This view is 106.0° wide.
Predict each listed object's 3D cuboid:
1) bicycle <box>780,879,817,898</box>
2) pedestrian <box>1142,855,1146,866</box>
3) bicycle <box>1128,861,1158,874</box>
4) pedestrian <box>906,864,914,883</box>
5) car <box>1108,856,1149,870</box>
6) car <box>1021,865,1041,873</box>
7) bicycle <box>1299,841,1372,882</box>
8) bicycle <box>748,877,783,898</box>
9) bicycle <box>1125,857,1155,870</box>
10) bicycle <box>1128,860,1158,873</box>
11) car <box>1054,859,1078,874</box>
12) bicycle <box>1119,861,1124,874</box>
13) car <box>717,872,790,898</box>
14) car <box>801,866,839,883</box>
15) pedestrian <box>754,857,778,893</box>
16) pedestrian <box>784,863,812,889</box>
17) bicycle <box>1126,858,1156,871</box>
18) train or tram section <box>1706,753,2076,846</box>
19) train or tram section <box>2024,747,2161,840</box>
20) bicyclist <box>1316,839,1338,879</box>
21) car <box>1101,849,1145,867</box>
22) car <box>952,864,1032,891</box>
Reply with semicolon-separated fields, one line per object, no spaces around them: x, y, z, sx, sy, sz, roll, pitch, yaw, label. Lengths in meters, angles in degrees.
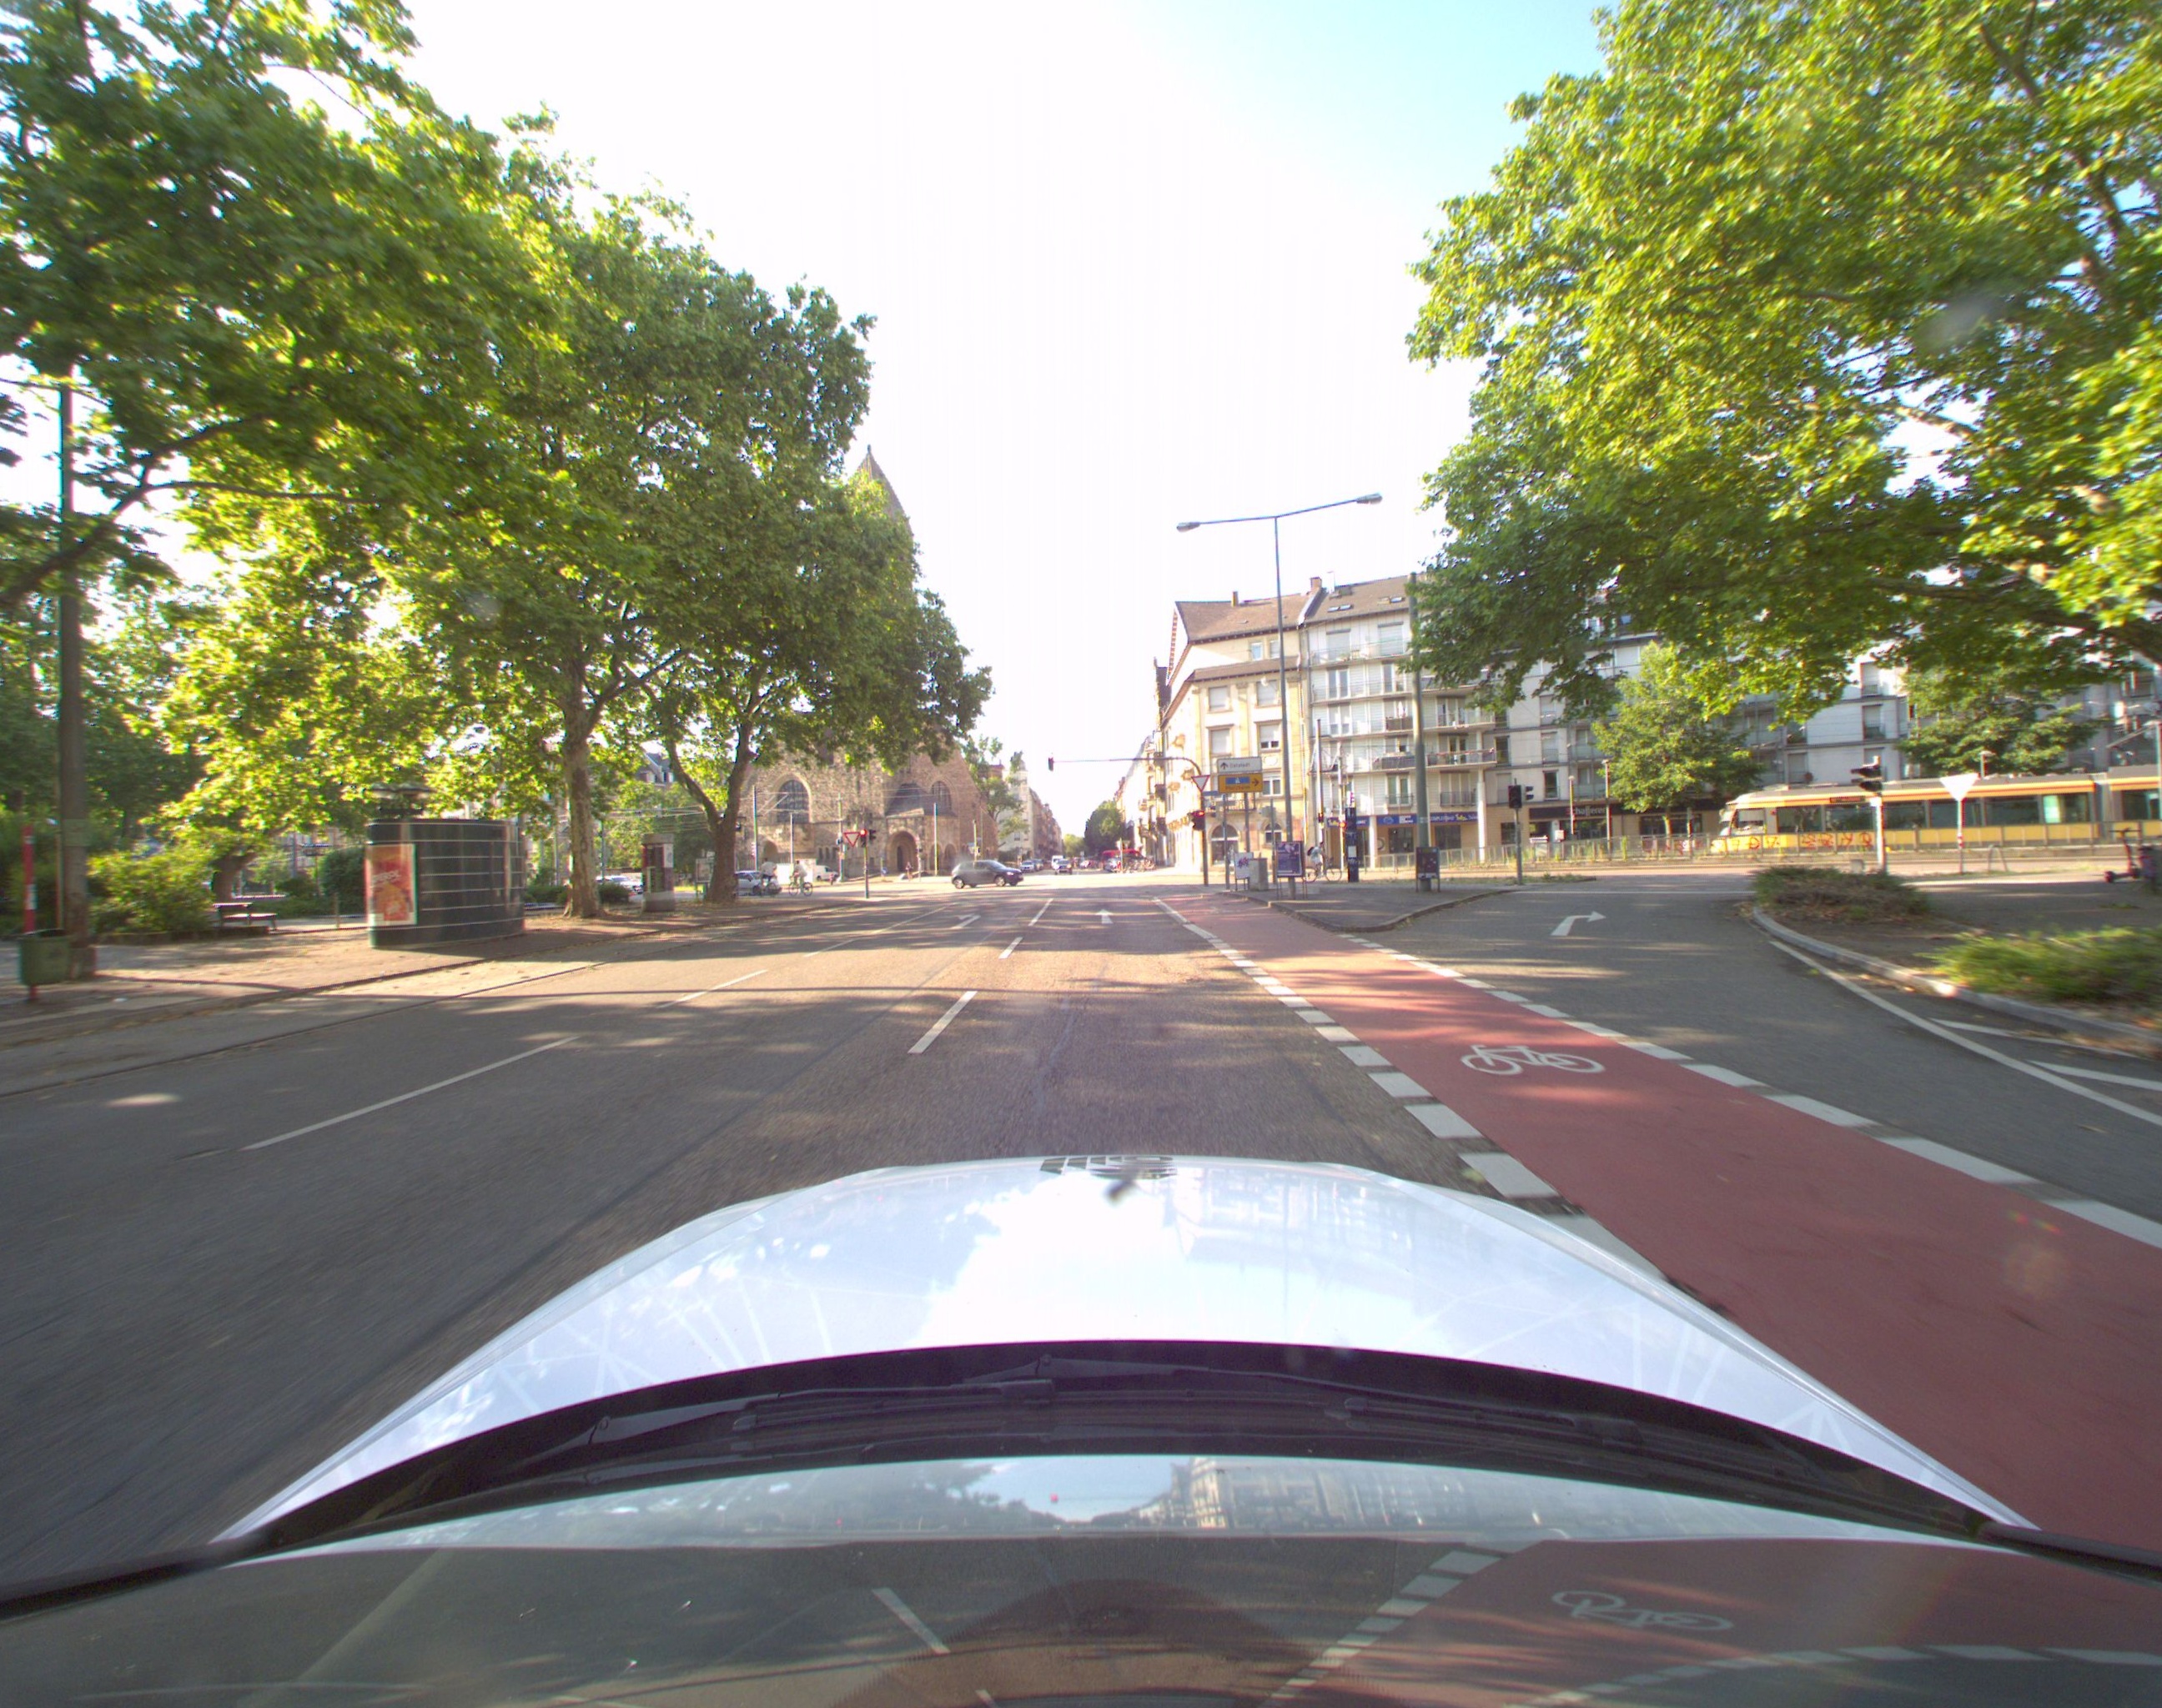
-14.108;1.704;40.649;1.764;0.895;0.755;-2;0;31;bicycle
7.426;0.724;96.232;0.392;1.289;0.432;0;-1;5;pedestrian
5.805;1.298;76.129;2.796;1.203;0.516;0;-1;-3;bicycle
-16.465;1.904;78.595;0.607;1.790;0.711;0;-1;1;pedestrian
5.394;1.077;91.890;4.446;1.538;1.856;1;-1;-32;car
-6.849;2.041;111.264;1.581;1.144;3.400;0;-1;19;car
10.527;0.309;33.834;2.822;1.656;0.833;0;-1;12;bicycle
-15.409;1.620;39.782;1.766;0.982;0.661;-1;-1;33;bicycle
5.618;0.908;77.573;2.796;1.203;0.509;0;-1;-3;bicycle
5.729;1.145;75.362;2.796;1.203;0.509;0;-1;-3;bicycle
-1.551;1.293;84.817;1.574;1.462;3.198;0;-1;18;car
3.832;1.323;77.575;0.506;1.203;2.093;0;-1;3;bicycle
-20.064;1.874;49.842;3.952;1.556;1.863;0;-1;23;car
-29.135;2.302;91.014;1.843;1.838;4.023;-1;-1;26;car
-15.386;1.027;39.791;0.981;1.708;0.632;-1;-2;33;pedestrian
-14.094;1.078;40.586;1.038;1.278;0.797;-1;-2;30;pedestrian
5.691;1.004;76.764;2.796;1.203;0.516;0;-1;-3;bicycle
36.766;-2.291;37.906;11.681;3.640;3.437;0;-1;26;train or tram section
47.322;-2.503;32.865;11.682;3.640;3.437;0;-1;26;train or tram section
10.228;0.225;33.885;0.796;1.656;0.937;0;-1;12;bicyclist
4.946;0.495;95.597;5.024;2.014;2.143;1;-1;-35;car
-4.753;1.219;43.328;3.892;1.397;1.661;0;-1;21;car
